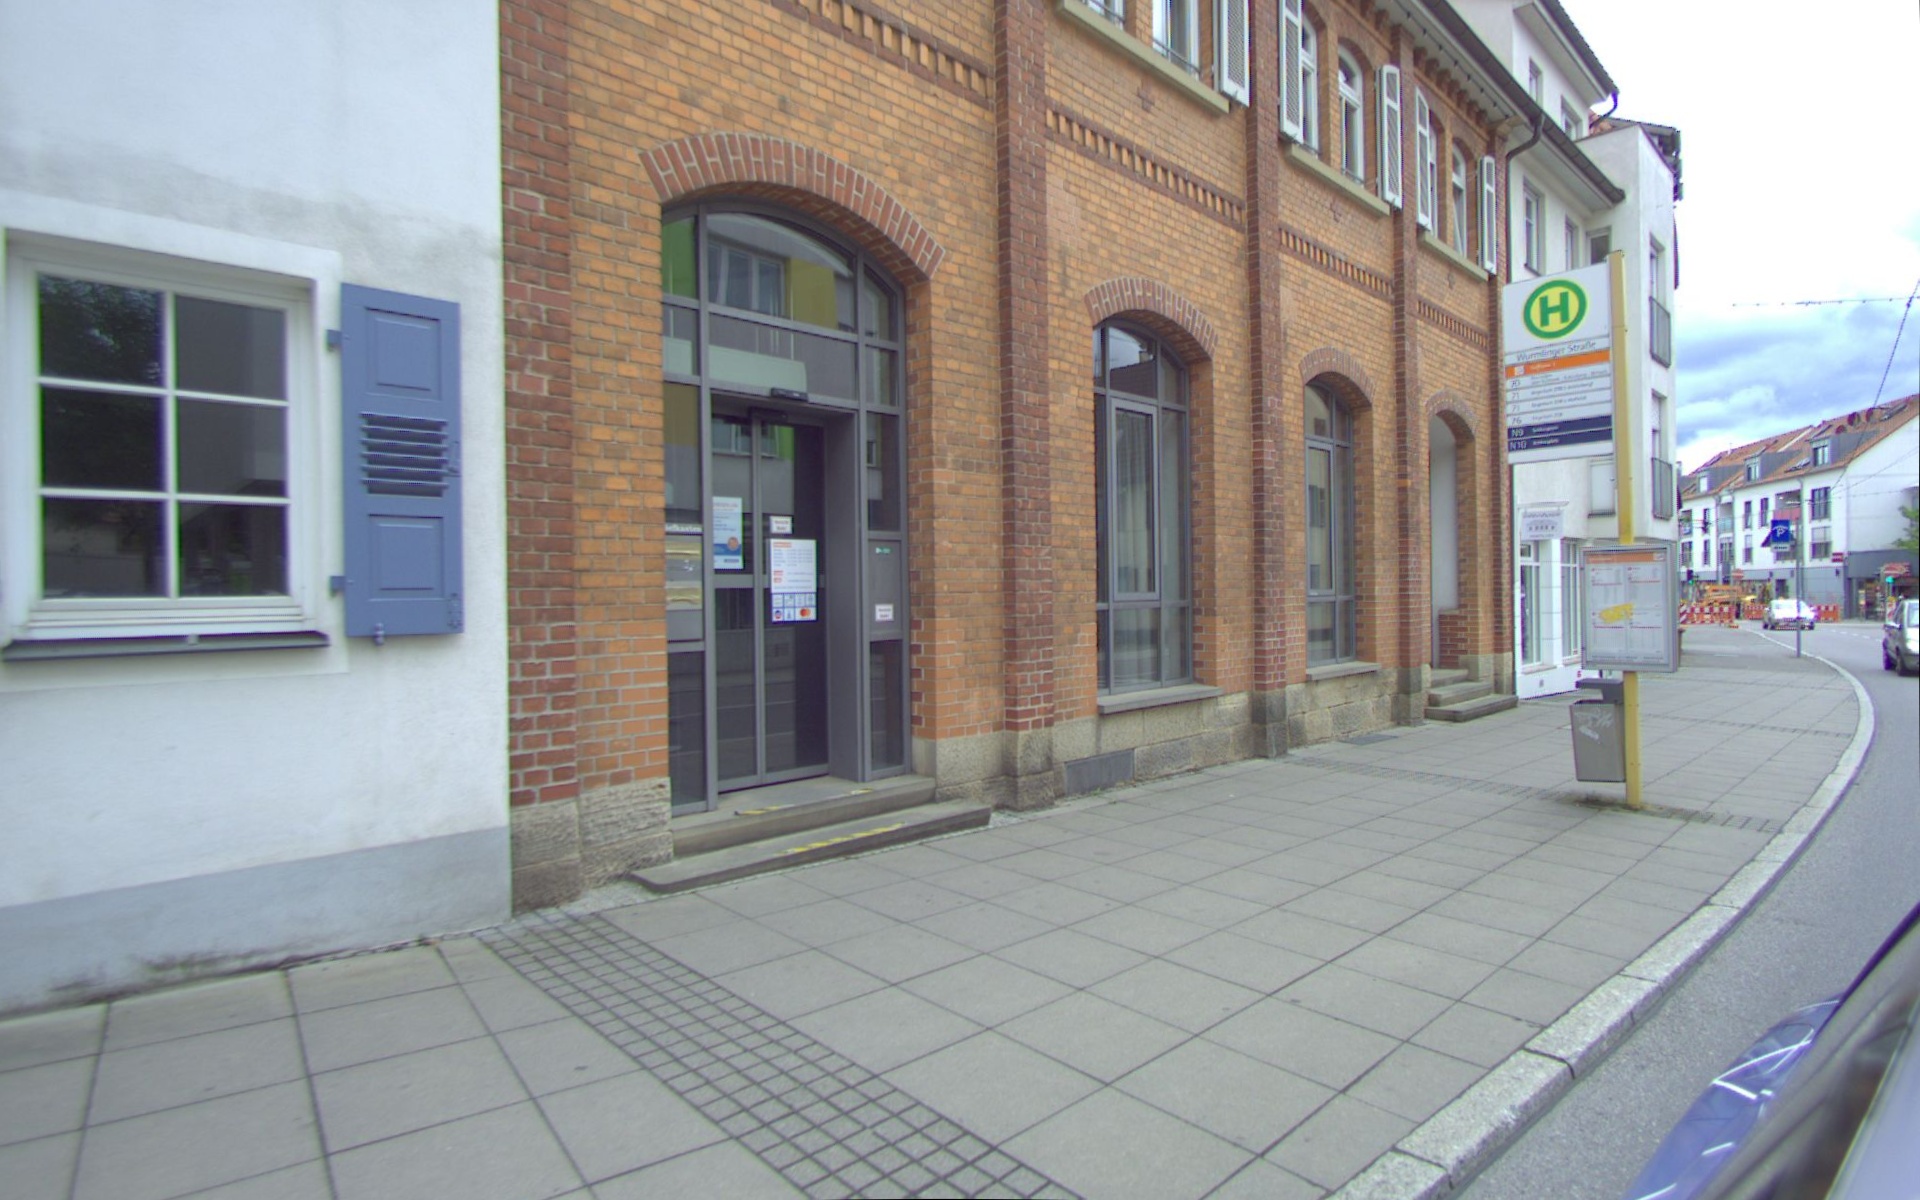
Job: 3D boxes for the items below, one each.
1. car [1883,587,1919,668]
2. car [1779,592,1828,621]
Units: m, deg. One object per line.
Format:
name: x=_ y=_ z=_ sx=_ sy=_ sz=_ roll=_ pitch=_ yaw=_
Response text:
car: x=21.273 y=0.563 z=21.621 sx=1.885 sy=1.648 sz=3.947 roll=1 pitch=1 yaw=36
car: x=41.156 y=0.294 z=49.454 sx=1.747 sy=1.372 sz=3.943 roll=-1 pitch=0 yaw=39
